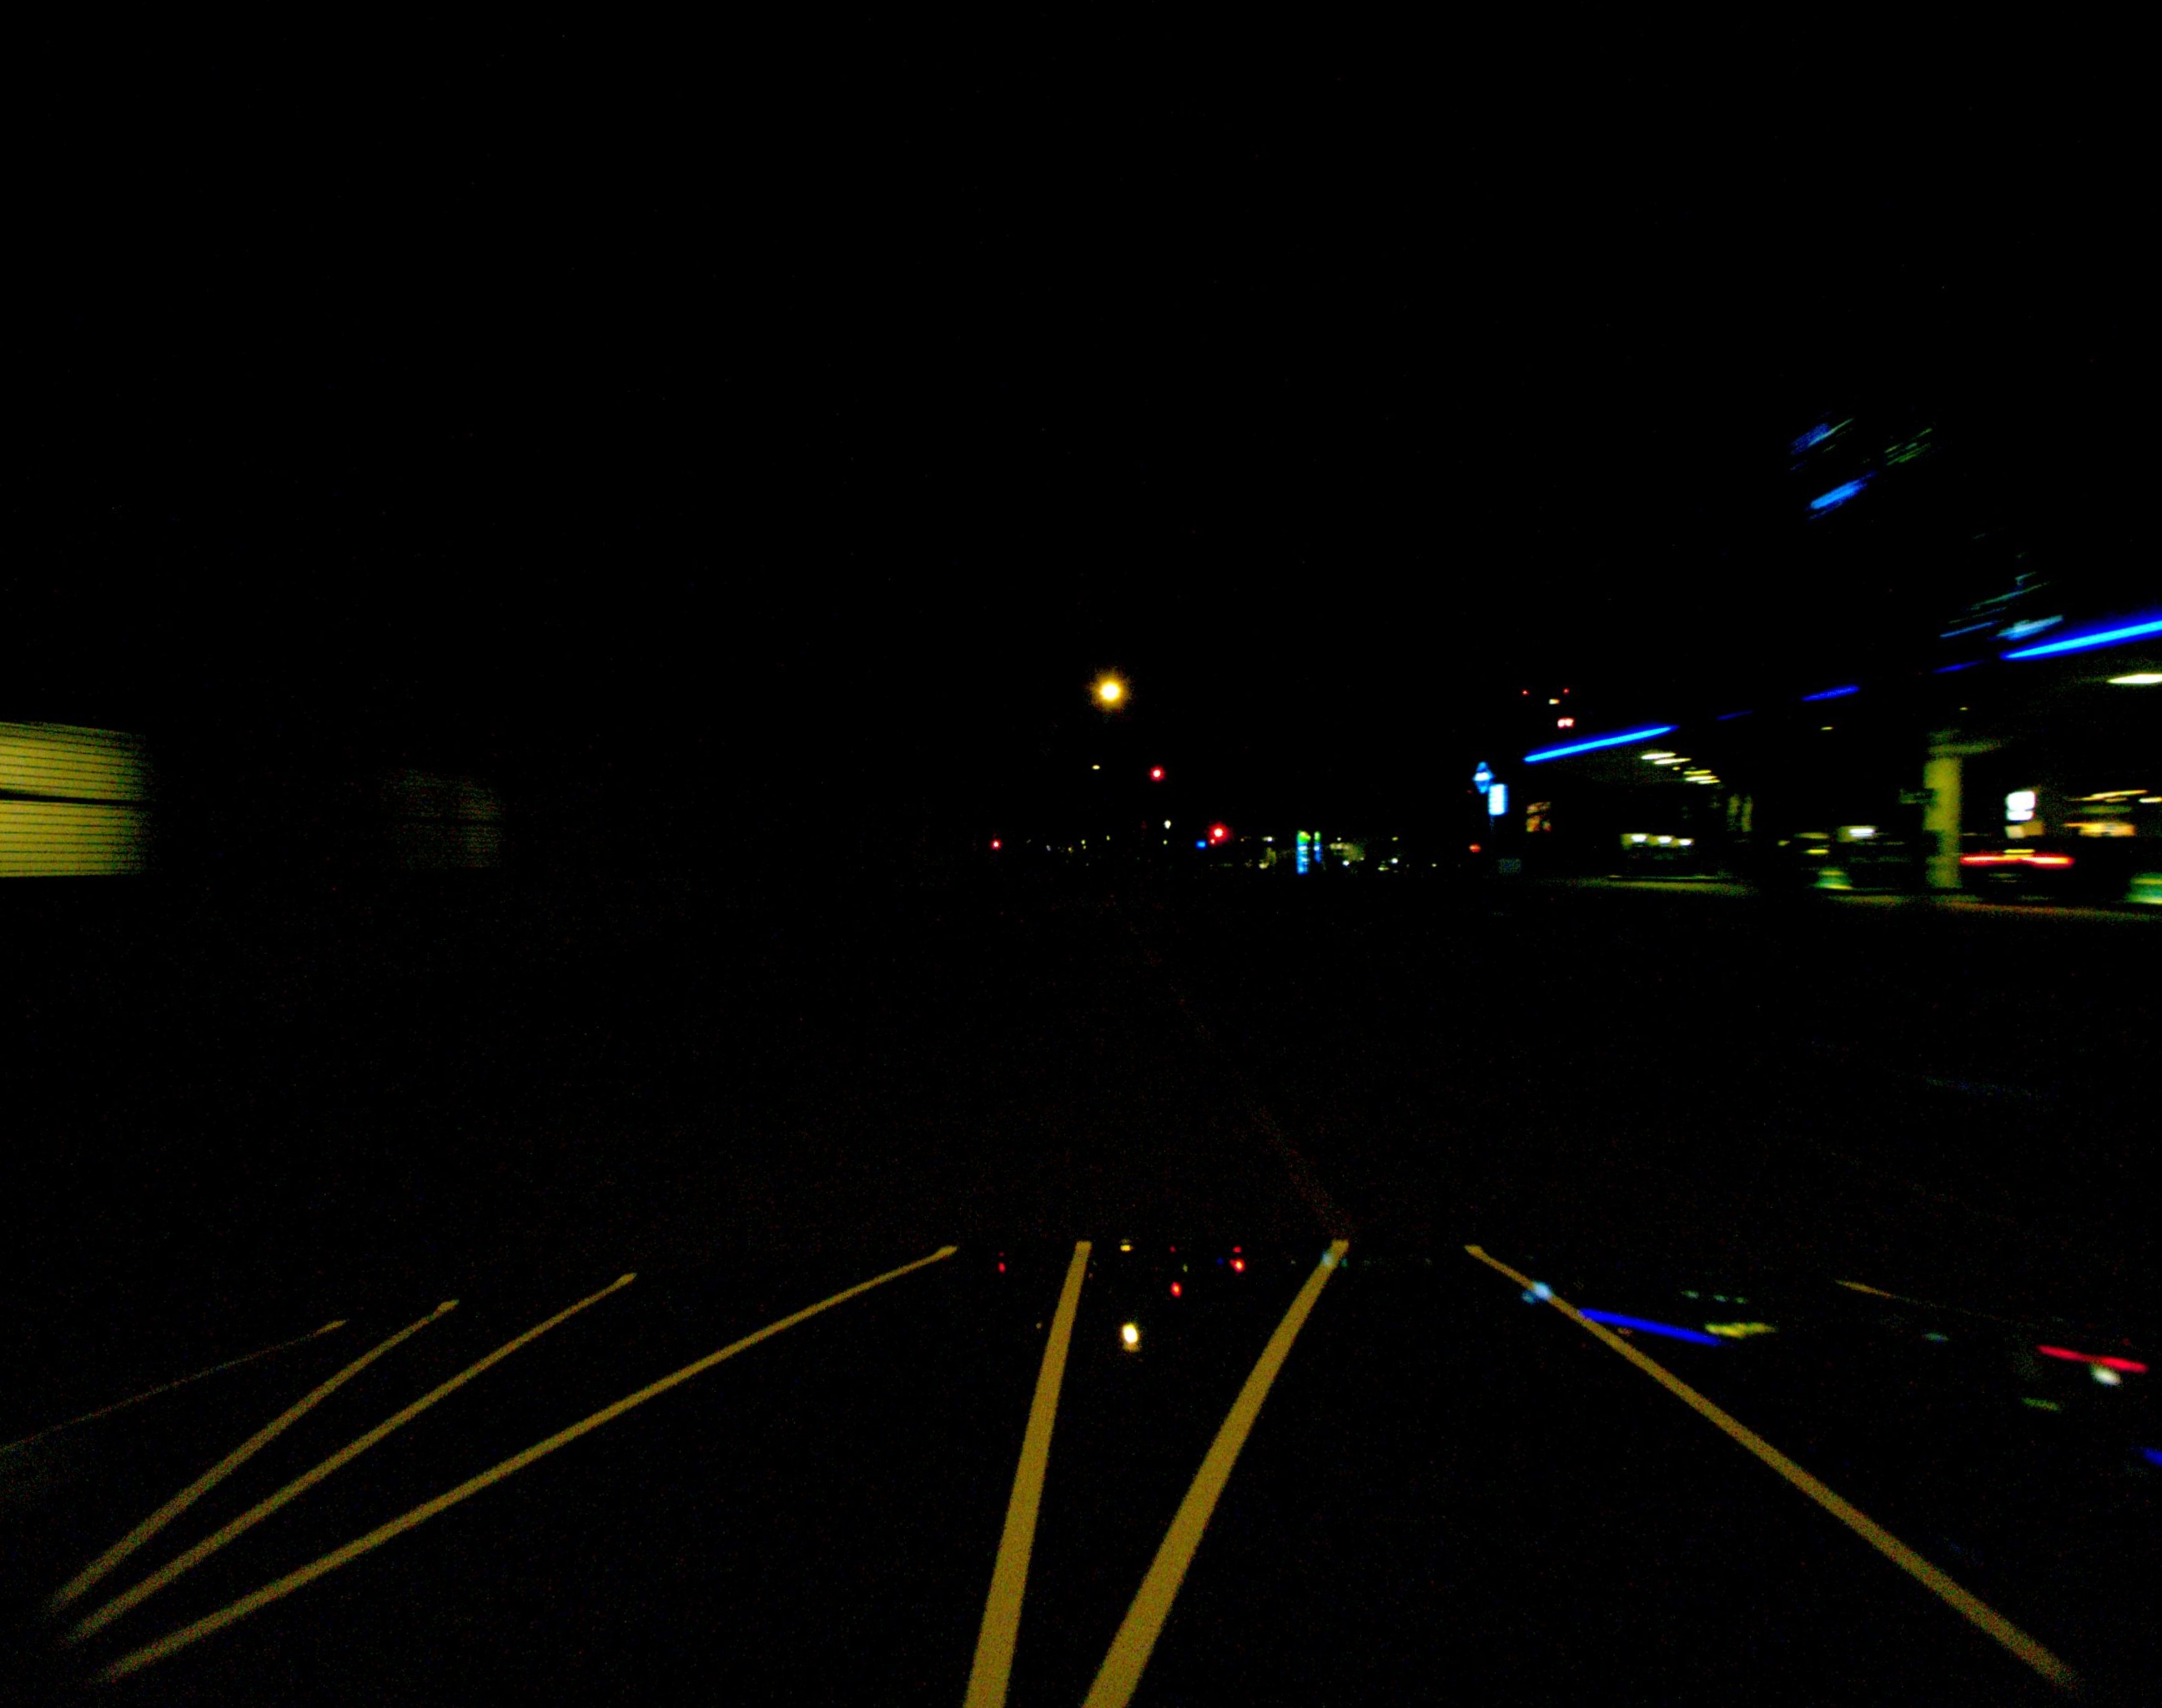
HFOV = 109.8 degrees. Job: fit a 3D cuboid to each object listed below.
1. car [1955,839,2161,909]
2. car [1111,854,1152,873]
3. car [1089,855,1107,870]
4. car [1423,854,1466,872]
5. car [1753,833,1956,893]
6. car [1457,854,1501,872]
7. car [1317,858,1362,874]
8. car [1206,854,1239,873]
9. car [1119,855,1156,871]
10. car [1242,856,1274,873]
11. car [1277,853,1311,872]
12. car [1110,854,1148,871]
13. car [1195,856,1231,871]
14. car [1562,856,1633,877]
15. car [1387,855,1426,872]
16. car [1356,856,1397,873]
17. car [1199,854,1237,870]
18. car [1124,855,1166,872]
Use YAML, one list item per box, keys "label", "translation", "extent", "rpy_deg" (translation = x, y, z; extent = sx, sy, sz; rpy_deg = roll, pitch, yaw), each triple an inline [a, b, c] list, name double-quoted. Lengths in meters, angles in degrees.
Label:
- label: "car"
  translation: [22.753, 0.433, 17.305]
  extent: [3.759, 1.524, 1.670]
  rpy_deg: [0, 0, 0]
- label: "car"
  translation: [5.181, 0.962, 78.616]
  extent: [4.055, 1.879, 1.634]
  rpy_deg: [0, 1, -3]
- label: "car"
  translation: [1.864, 0.899, 86.053]
  extent: [1.936, 1.646, 3.833]
  rpy_deg: [0, 0, 0]
- label: "car"
  translation: [32.137, 0.757, 67.305]
  extent: [1.864, 1.469, 4.086]
  rpy_deg: [-1, 0, 0]
- label: "car"
  translation: [24.078, 0.274, 23.783]
  extent: [4.357, 1.717, 1.979]
  rpy_deg: [-1, 0, 0]
- label: "car"
  translation: [35.348, 0.779, 67.647]
  extent: [1.781, 1.469, 4.027]
  rpy_deg: [-1, 0, 0]
- label: "car"
  translation: [25.882, 1.224, 76.031]
  extent: [4.281, 1.469, 1.730]
  rpy_deg: [-1, 0, -27]
- label: "car"
  translation: [12.549, 0.835, 67.551]
  extent: [1.999, 1.548, 4.386]
  rpy_deg: [-1, 0, -1]
- label: "car"
  translation: [5.721, 0.872, 76.945]
  extent: [3.576, 1.619, 1.620]
  rpy_deg: [0, 1, -3]
- label: "car"
  translation: [15.673, 0.917, 67.426]
  extent: [1.864, 1.452, 4.070]
  rpy_deg: [-1, 0, 0]
- label: "car"
  translation: [18.966, 0.726, 67.705]
  extent: [1.864, 1.544, 4.070]
  rpy_deg: [-1, 0, 0]
- label: "car"
  translation: [5.126, 0.892, 81.374]
  extent: [3.848, 1.781, 1.634]
  rpy_deg: [0, 1, -3]
- label: "car"
  translation: [14.197, 1.047, 81.728]
  extent: [3.576, 1.576, 1.634]
  rpy_deg: [0, 1, -1]
- label: "car"
  translation: [36.358, 0.854, 53.533]
  extent: [3.851, 1.403, 1.736]
  rpy_deg: [-1, 0, -1]
- label: "car"
  translation: [28.951, 0.813, 67.710]
  extent: [1.732, 1.469, 4.086]
  rpy_deg: [-1, 0, 0]
- label: "car"
  translation: [26.193, 0.910, 67.518]
  extent: [1.864, 1.469, 4.353]
  rpy_deg: [-1, 0, 0]
- label: "car"
  translation: [14.232, 0.826, 79.003]
  extent: [3.575, 1.689, 1.634]
  rpy_deg: [0, 1, 0]
- label: "car"
  translation: [6.056, 0.905, 71.913]
  extent: [3.763, 1.576, 1.634]
  rpy_deg: [0, 1, -3]
